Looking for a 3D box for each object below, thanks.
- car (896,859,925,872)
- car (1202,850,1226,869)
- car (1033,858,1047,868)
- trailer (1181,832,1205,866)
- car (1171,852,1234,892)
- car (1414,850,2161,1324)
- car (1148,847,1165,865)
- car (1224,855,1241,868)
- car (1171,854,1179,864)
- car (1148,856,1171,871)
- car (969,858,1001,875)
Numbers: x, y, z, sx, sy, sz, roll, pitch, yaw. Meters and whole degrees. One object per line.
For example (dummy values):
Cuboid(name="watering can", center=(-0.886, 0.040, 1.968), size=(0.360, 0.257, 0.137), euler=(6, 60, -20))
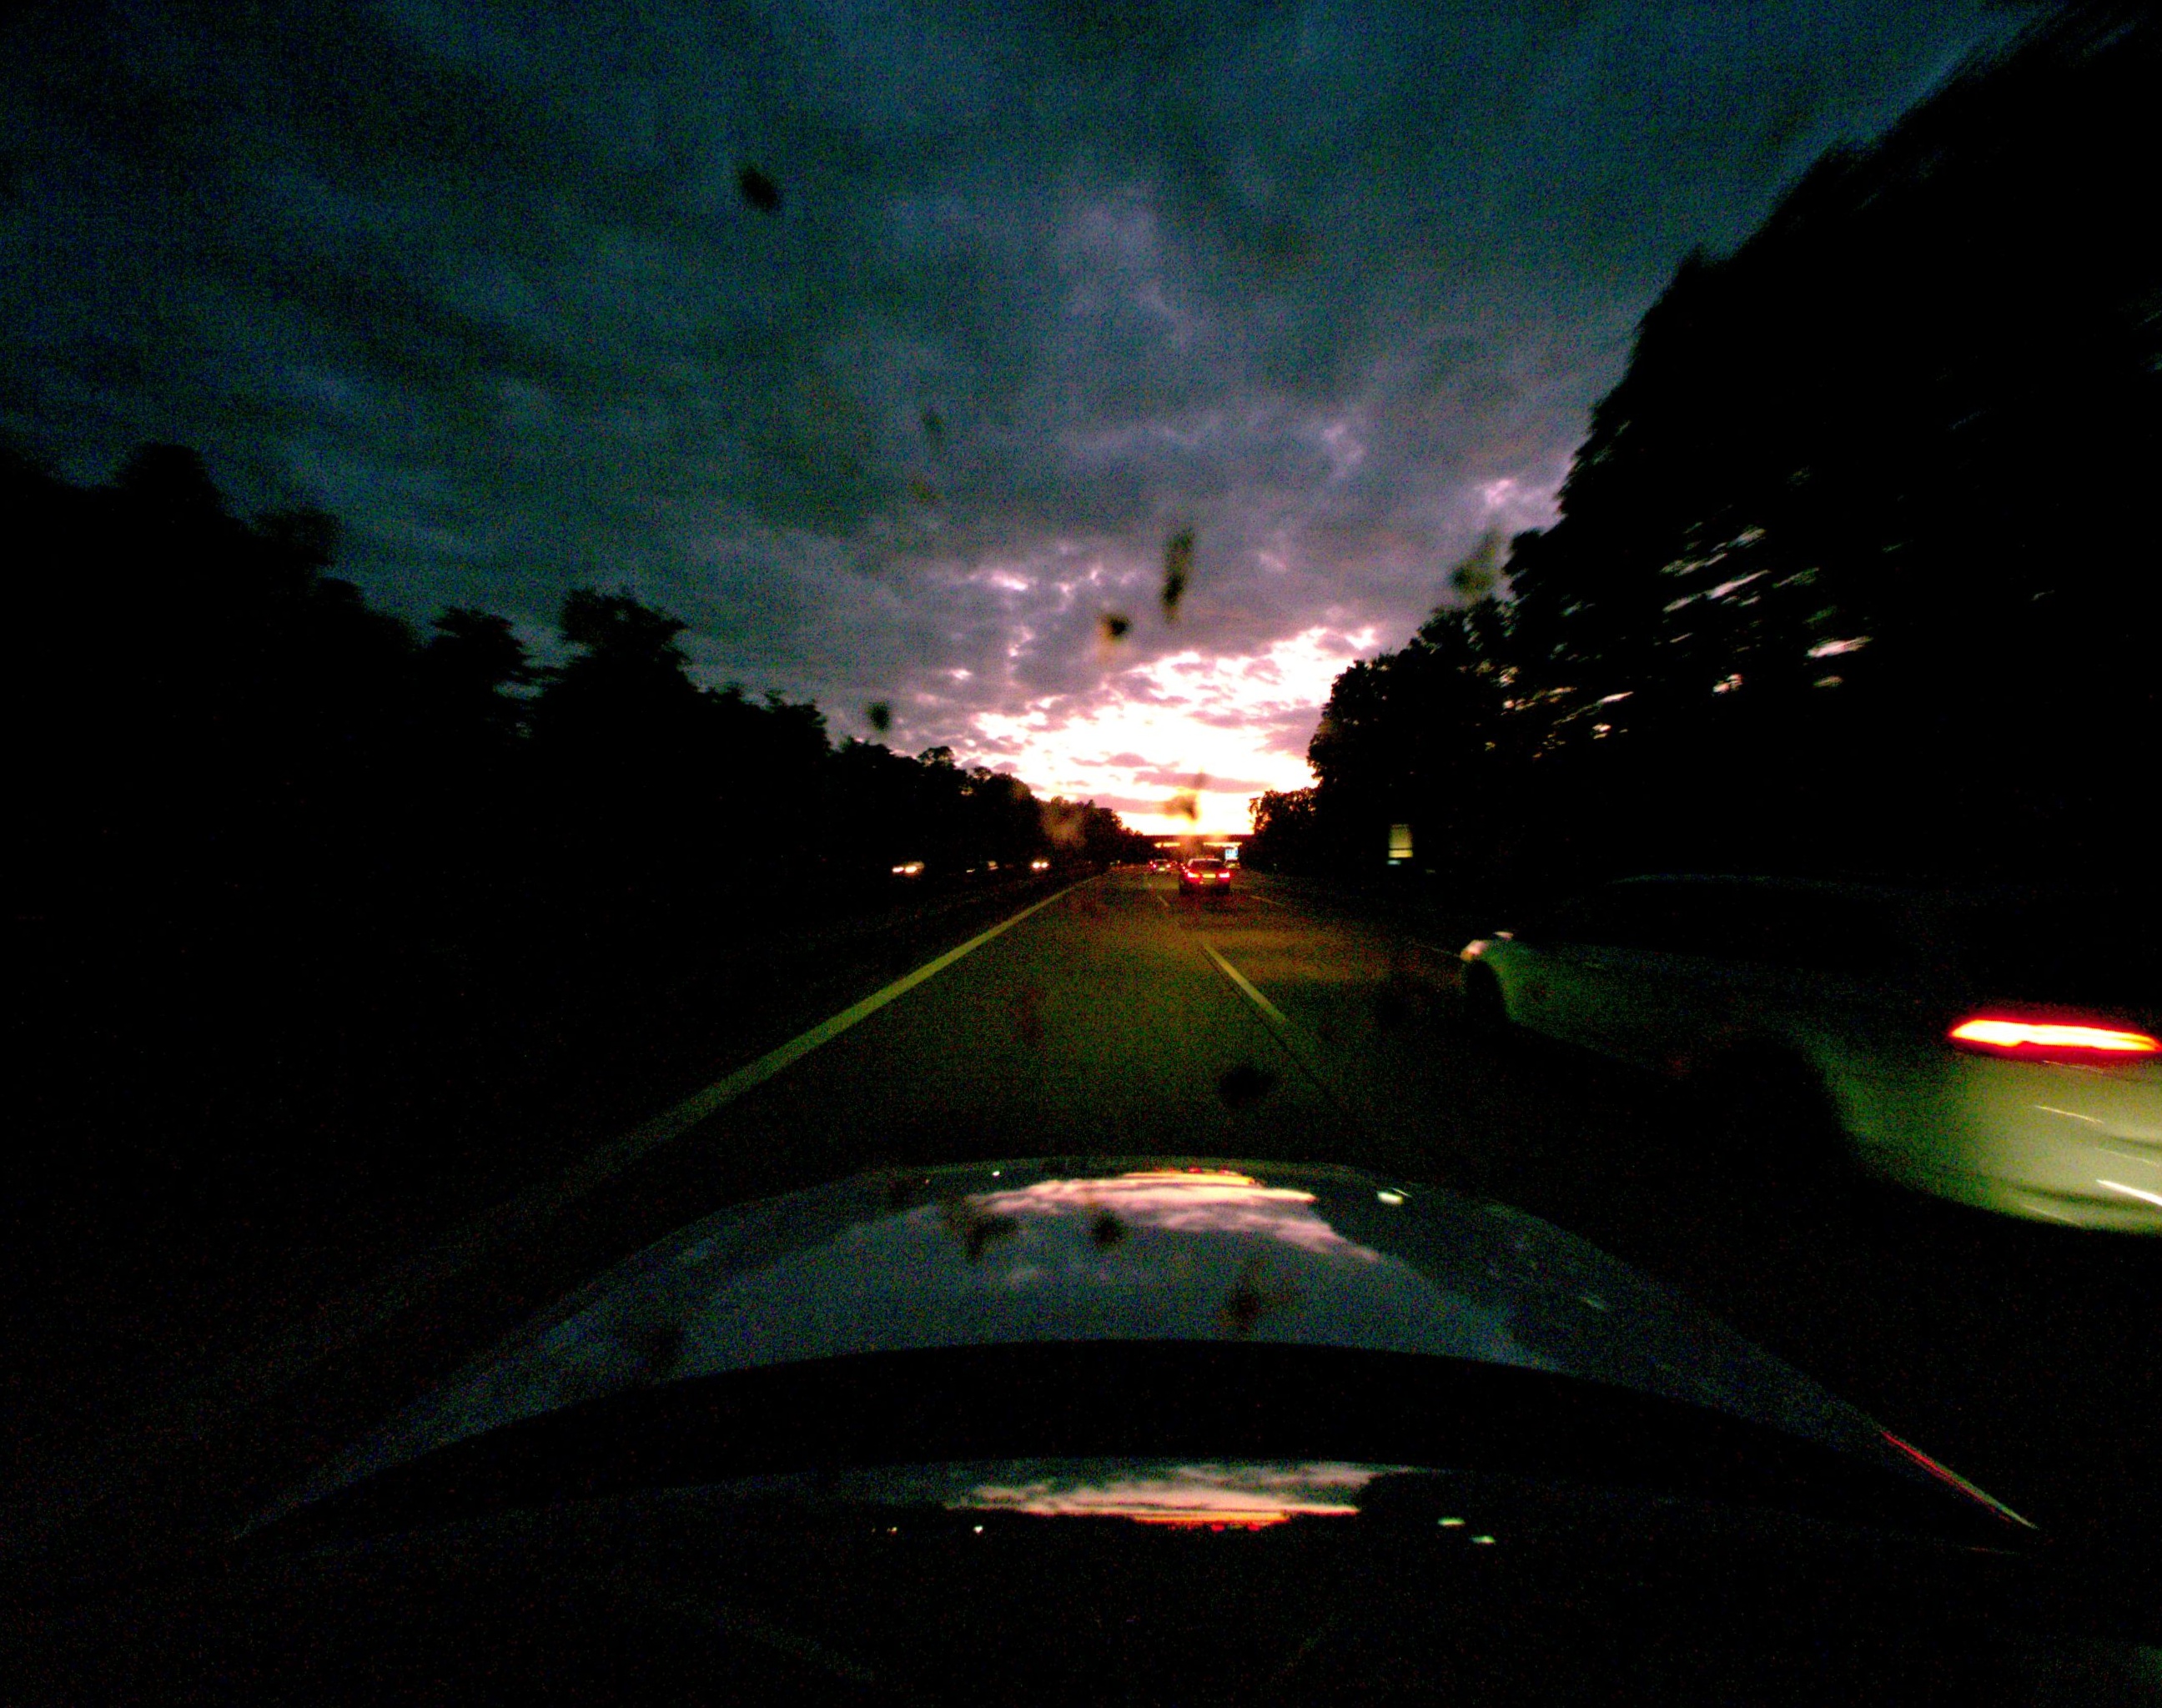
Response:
Cuboid(name="car", center=(-17.853, 1.180, 85.408), size=(1.807, 1.381, 4.912), euler=(0, 0, 3))
Cuboid(name="car", center=(12.129, 0.501, 74.591), size=(1.893, 1.643, 5.061), euler=(-1, -1, 7))
Cuboid(name="car", center=(-6.653, 1.454, 133.085), size=(1.834, 1.455, 3.607), euler=(-1, 0, 5))
Cuboid(name="trailer", center=(14.459, -0.520, 105.937), size=(2.892, 4.101, 10.374), euler=(0, -2, 6))
Cuboid(name="car", center=(5.119, 0.720, 34.875), size=(1.903, 1.537, 5.230), euler=(-1, 0, 0))
Cuboid(name="car", center=(3.981, 0.732, 5.154), size=(1.802, 1.466, 5.135), euler=(-1, 1, 2))
Cuboid(name="car", center=(10.755, 0.369, 116.129), size=(2.154, 2.419, 5.575), euler=(-1, -2, 8))
Cuboid(name="car", center=(18.600, 0.946, 100.063), size=(1.848, 1.442, 4.121), euler=(-1, -1, 8))
Cuboid(name="car", center=(24.890, 1.260, 215.167), size=(2.154, 2.419, 5.573), euler=(-1, -2, 7))
Cuboid(name="car", center=(7.746, 0.913, 80.534), size=(1.854, 1.442, 3.718), euler=(-1, 0, -2))
Cuboid(name="car", center=(-8.040, 1.012, 68.724), size=(1.807, 1.381, 4.912), euler=(0, 0, 3))
